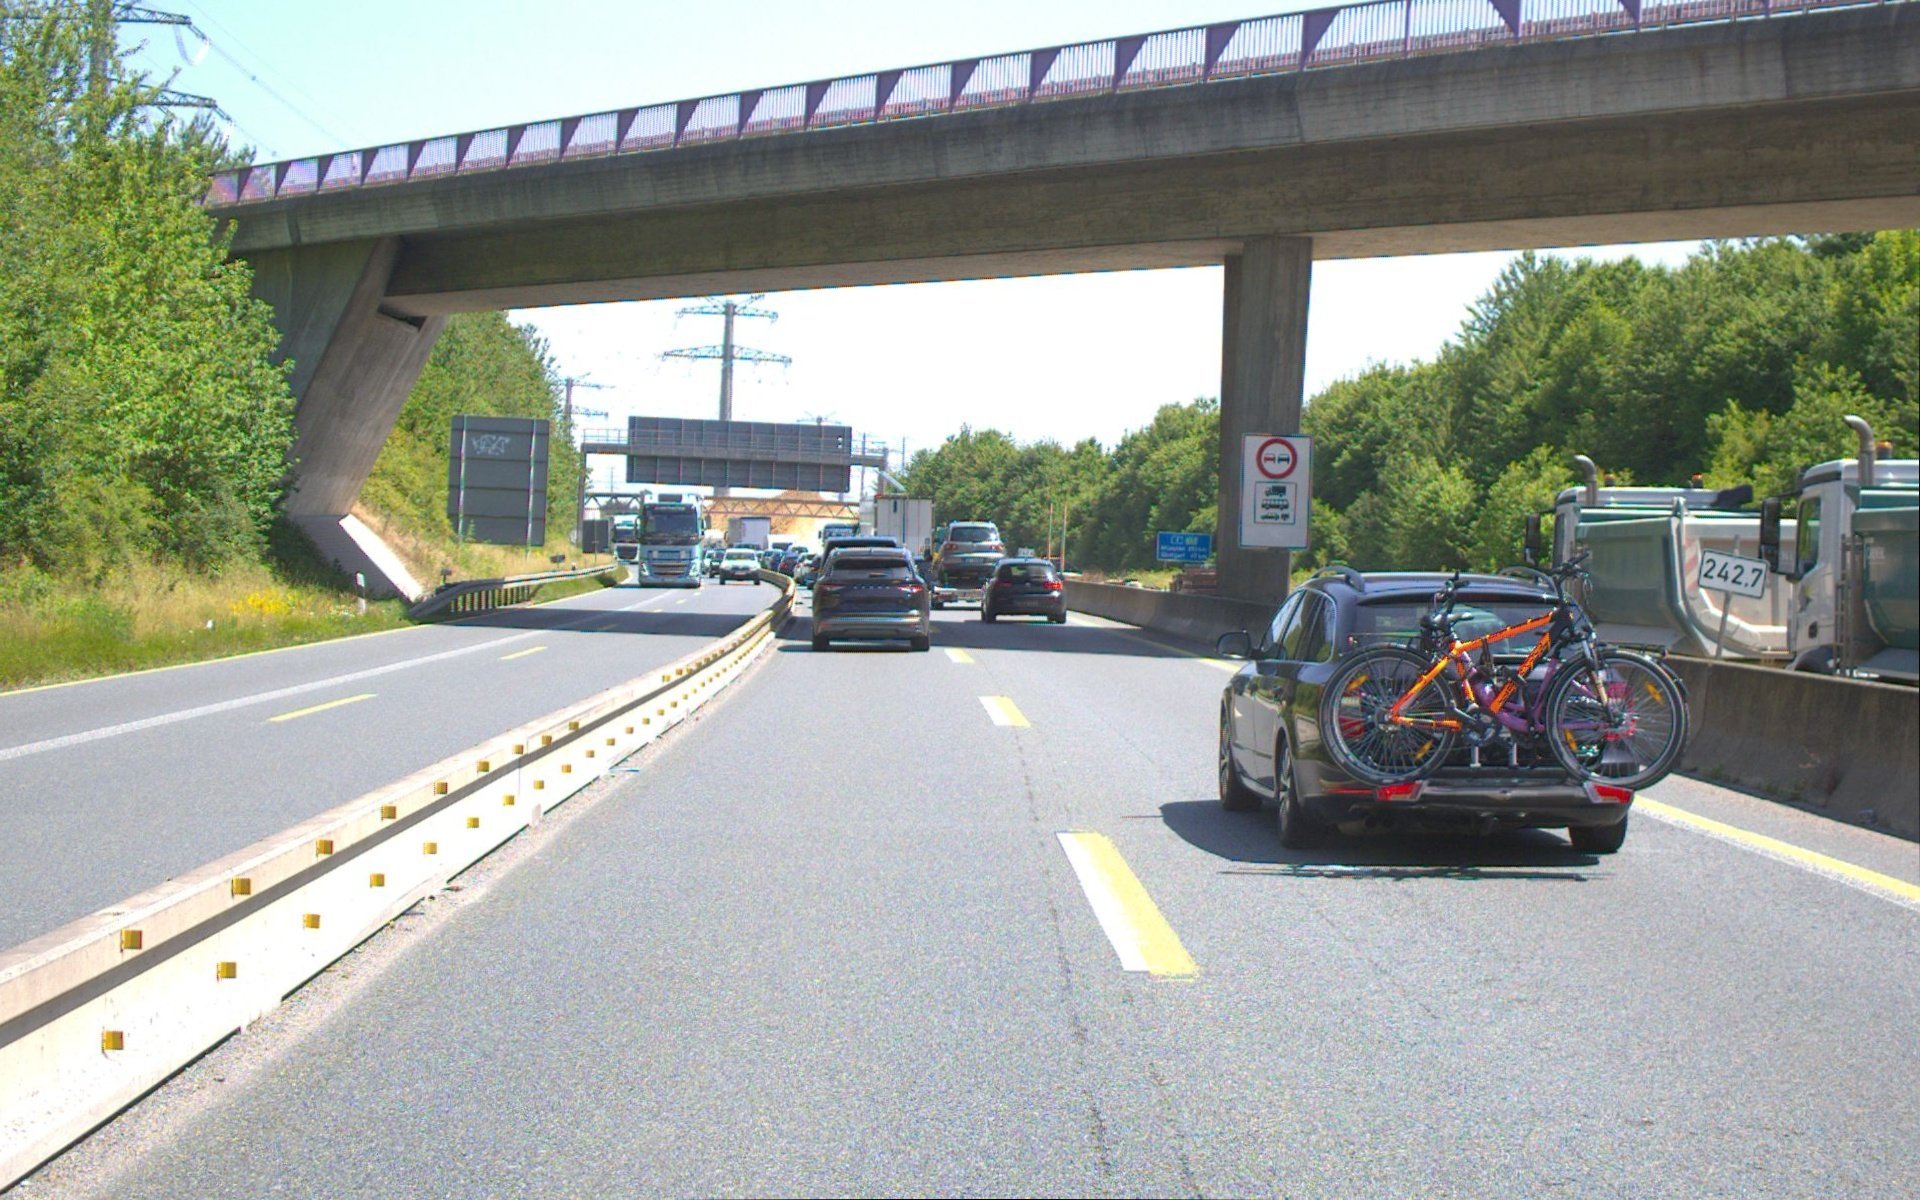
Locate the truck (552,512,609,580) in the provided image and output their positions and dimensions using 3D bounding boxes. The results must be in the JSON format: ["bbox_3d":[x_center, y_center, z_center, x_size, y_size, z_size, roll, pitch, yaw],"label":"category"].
[{"bbox_3d":[-18.479,-2.641,167.870,2.508,3.175,10.112,1,1,-5],"label":"truck"}]

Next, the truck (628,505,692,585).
[{"bbox_3d":[-12.476,-2.288,142.888,2.508,3.175,10.112,1,1,-5],"label":"truck"}]

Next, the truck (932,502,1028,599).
[{"bbox_3d":[0.504,-1.404,95.469,2.405,2.549,7.501,1,1,-1],"label":"truck"}]

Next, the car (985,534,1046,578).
[{"bbox_3d":[2.087,-1.658,130.046,1.899,1.580,4.277,1,1,-4],"label":"car"}]

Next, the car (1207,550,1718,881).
[{"bbox_3d":[2.492,0.512,18.307,1.899,1.485,4.948,1,0,-1],"label":"car"}]

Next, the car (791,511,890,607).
[{"bbox_3d":[-2.542,-0.883,74.253,1.899,1.962,4.276,1,1,1],"label":"car"}]

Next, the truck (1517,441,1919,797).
[{"bbox_3d":[9.025,0.135,42.156,2.687,3.830,9.326,1,1,-1],"label":"truck"}]

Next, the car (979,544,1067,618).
[{"bbox_3d":[1.393,-0.436,77.072,1.899,1.580,4.276,1,1,1],"label":"car"}]

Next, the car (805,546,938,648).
[{"bbox_3d":[-1.354,-0.075,54.103,1.899,1.500,4.276,1,1,1],"label":"car"}]

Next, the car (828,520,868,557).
[{"bbox_3d":[-6.140,-3.346,187.966,1.899,1.962,4.277,1,1,-5],"label":"car"}]

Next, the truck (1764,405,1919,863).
[{"bbox_3d":[9.395,0.294,29.365,2.687,3.843,9.326,1,1,-1],"label":"truck"}]

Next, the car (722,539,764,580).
[{"bbox_3d":[-9.817,-1.828,155.340,1.762,1.831,4.001,1,0,-5],"label":"car"}]

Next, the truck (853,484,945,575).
[{"bbox_3d":[-2.772,-3.081,152.057,3.292,3.832,10.112,1,1,-5],"label":"truck"}]

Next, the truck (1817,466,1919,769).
[{"bbox_3d":[12.571,0.226,39.930,2.687,3.545,9.326,1,1,-1],"label":"truck"}]
